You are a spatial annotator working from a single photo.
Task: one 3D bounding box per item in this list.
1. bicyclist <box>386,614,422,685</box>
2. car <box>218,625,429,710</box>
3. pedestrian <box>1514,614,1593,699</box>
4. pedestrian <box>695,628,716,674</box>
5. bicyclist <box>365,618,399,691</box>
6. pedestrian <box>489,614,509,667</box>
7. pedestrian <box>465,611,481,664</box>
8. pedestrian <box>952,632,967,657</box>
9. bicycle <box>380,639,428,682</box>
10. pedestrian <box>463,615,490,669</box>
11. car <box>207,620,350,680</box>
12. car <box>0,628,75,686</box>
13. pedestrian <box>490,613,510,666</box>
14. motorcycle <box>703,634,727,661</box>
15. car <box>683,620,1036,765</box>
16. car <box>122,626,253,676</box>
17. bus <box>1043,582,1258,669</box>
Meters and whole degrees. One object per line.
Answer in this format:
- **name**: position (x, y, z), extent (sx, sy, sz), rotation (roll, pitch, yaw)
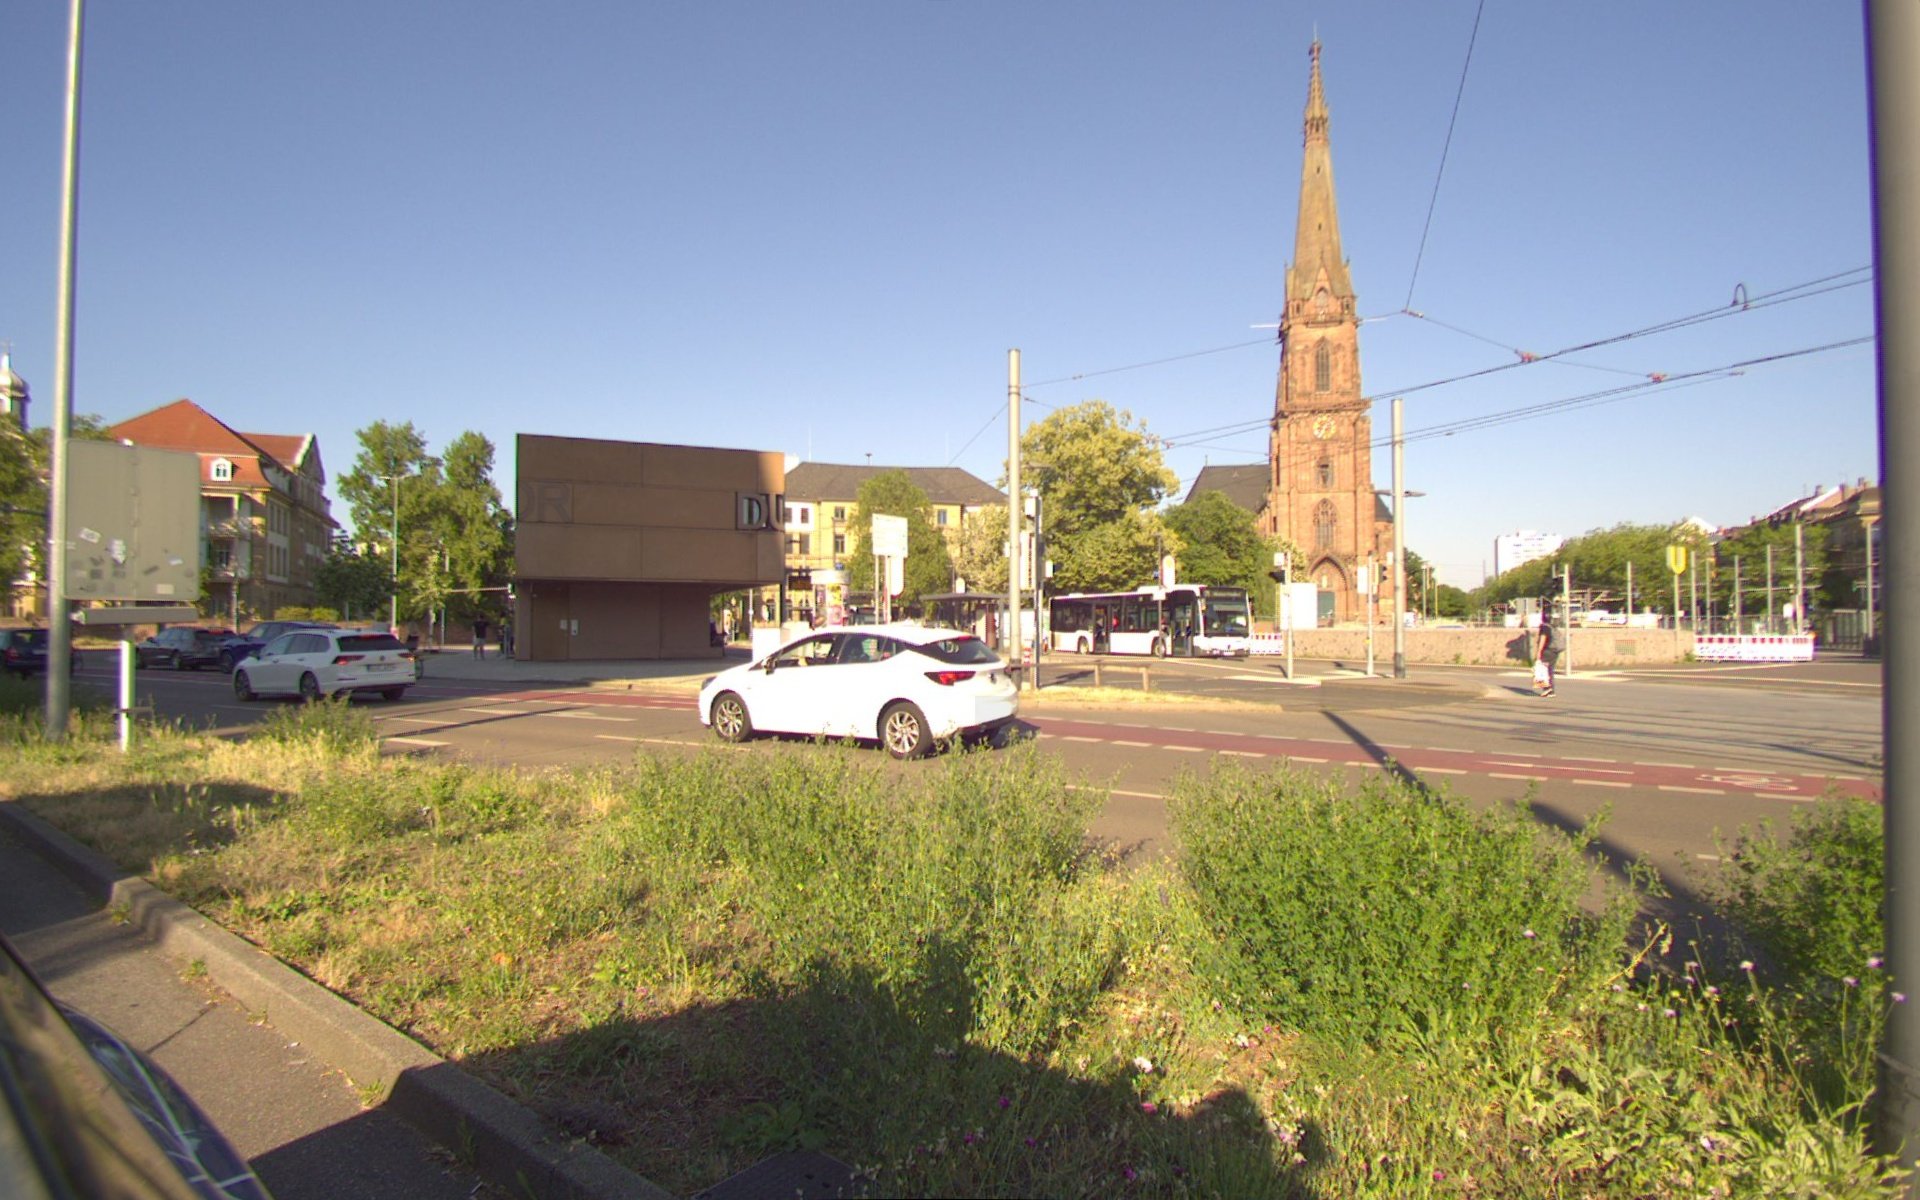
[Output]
- **bicyclist**: position (-16.045, 1.416, 29.220), extent (0.705, 2.029, 0.605), rotation (-1, -2, 25)
- **car**: position (-12.928, 1.279, 20.505), extent (4.375, 1.503, 1.831), rotation (-1, 0, 30)
- **pedestrian**: position (12.409, 1.148, 21.185), extent (1.025, 1.696, 1.007), rotation (-1, 0, -25)
- **pedestrian**: position (-11.390, 2.268, 45.281), extent (0.762, 2.029, 0.778), rotation (-1, 0, -2)
- **bicyclist**: position (-16.362, 1.528, 28.635), extent (0.562, 2.029, 0.605), rotation (-1, -2, 25)
- **pedestrian**: position (-18.055, 1.578, 39.635), extent (0.645, 2.029, 0.470), rotation (-1, 0, -29)
- **pedestrian**: position (-18.974, 1.465, 39.417), extent (0.460, 2.029, 0.658), rotation (-1, 0, -33)
- **pedestrian**: position (-0.016, 2.192, 49.958), extent (0.531, 1.196, 0.660), rotation (-1, 0, -21)
- **bicycle**: position (-16.068, 1.738, 29.236), extent (1.388, 1.201, 0.461), rotation (-1, 0, 23)
- **pedestrian**: position (-18.437, 1.583, 38.607), extent (0.765, 2.029, 0.775), rotation (-1, 0, -37)
- **car**: position (-20.340, 1.445, 30.180), extent (4.168, 1.703, 1.740), rotation (-1, -1, 27)
- **car**: position (-26.816, 1.552, 28.527), extent (4.176, 1.471, 1.737), rotation (-1, 0, 33)
- **pedestrian**: position (-17.726, 1.509, 39.006), extent (0.645, 2.029, 0.470), rotation (-1, 0, -29)
- **motorcycle**: position (-10.158, 1.956, 42.028), extent (0.935, 1.075, 0.331), rotation (-1, 0, -11)
- **car**: position (-1.308, 1.002, 12.426), extent (4.177, 1.471, 1.736), rotation (-1, 0, 34)
- **car**: position (-25.254, 1.647, 33.065), extent (4.375, 1.503, 1.831), rotation (-1, -4, 30)
- **bus**: position (7.644, 0.966, 43.438), extent (2.655, 3.174, 12.216), rotation (-1, 0, -23)
